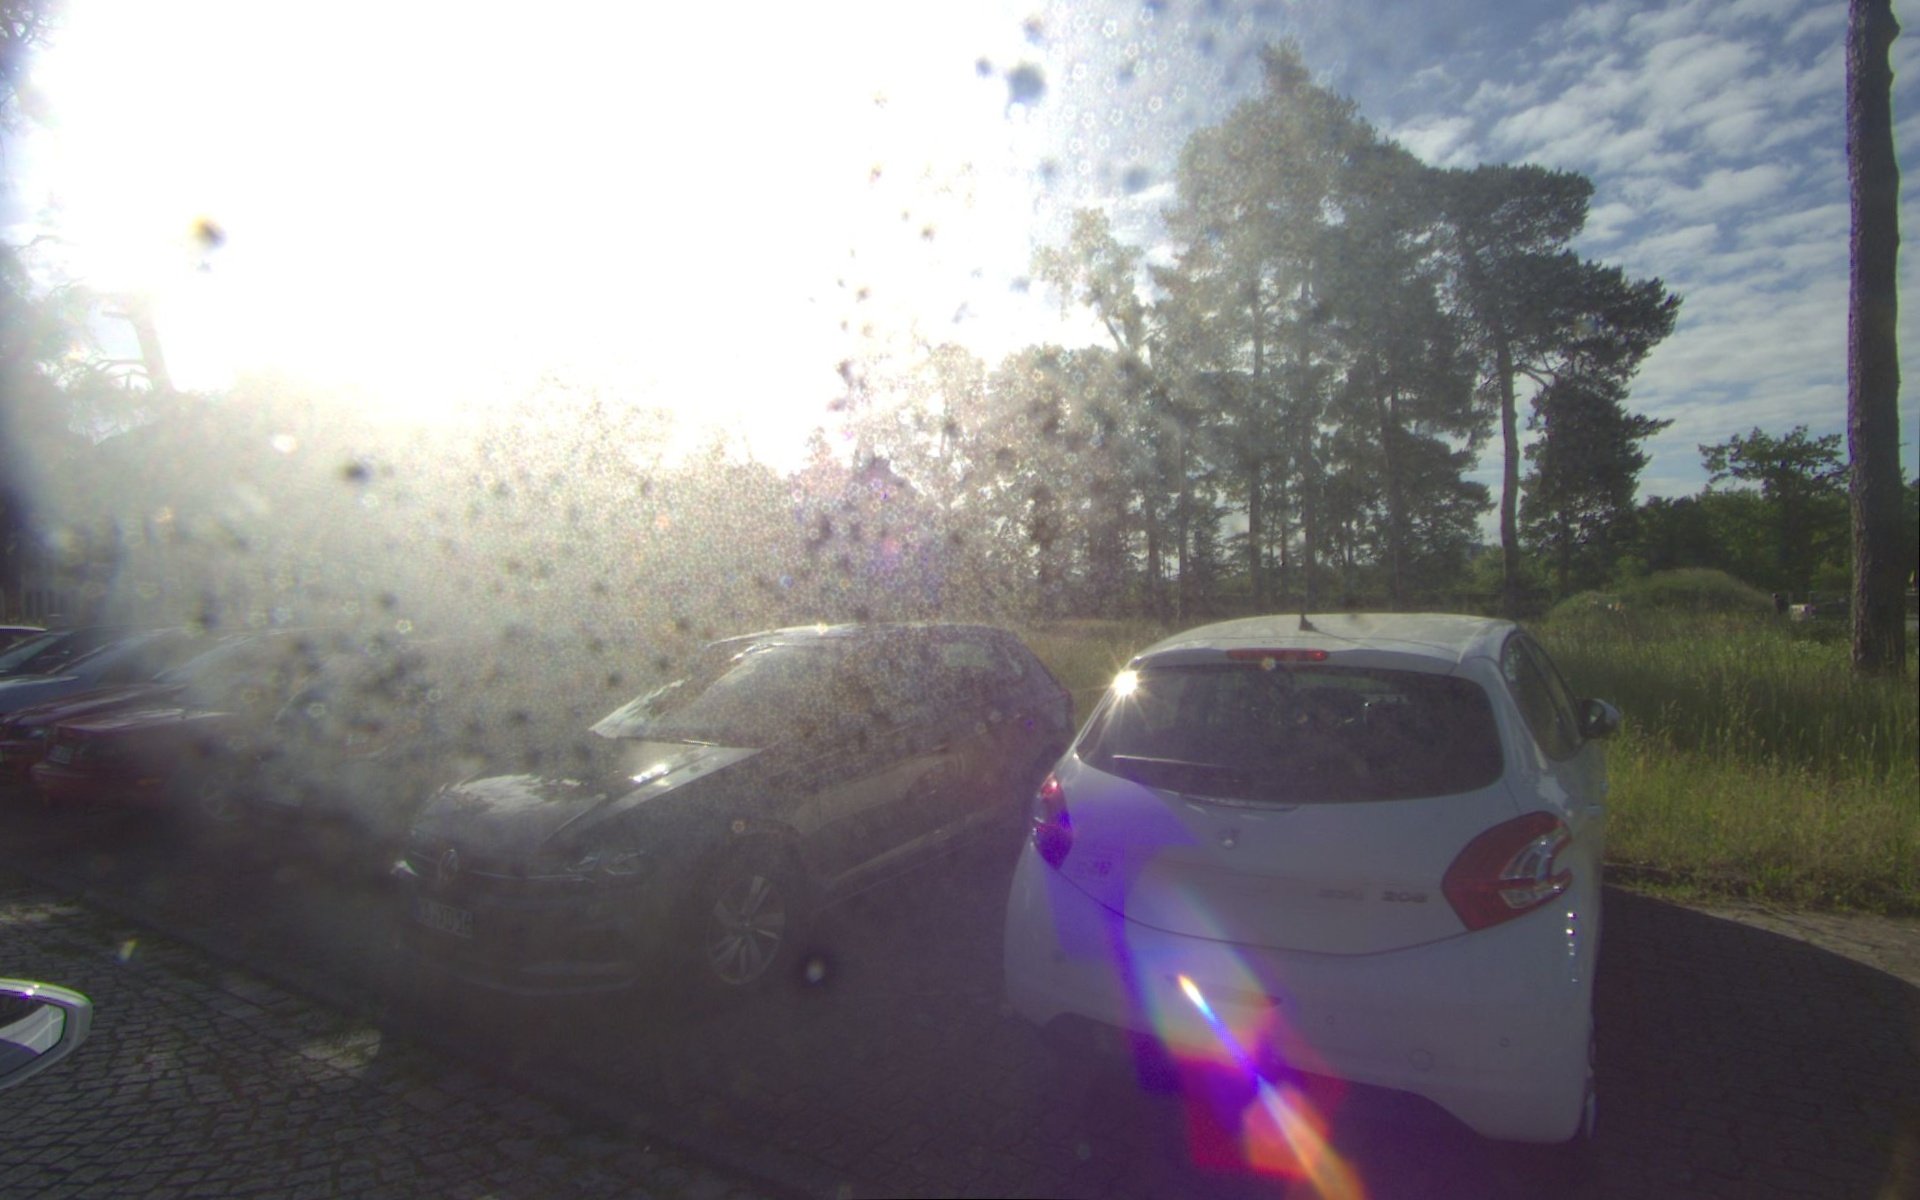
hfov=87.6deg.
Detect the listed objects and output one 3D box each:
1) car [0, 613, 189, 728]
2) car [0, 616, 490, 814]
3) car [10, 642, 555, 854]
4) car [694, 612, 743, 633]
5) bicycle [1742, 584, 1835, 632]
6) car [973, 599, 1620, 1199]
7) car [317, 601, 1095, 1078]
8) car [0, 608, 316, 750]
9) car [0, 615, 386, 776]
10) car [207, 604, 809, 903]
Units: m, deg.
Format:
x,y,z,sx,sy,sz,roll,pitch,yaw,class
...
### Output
x,y,z,sx,sy,sz,roll,pitch,yaw,class
-13.375,0.982,14.075,1.642,1.462,3.663,-1,1,33,car
-7.054,0.950,10.055,1.632,1.468,3.970,-1,0,32,car
-5.360,1.038,8.335,1.515,1.258,3.452,-1,-1,33,car
-19.570,1.823,81.360,1.743,1.693,3.625,-1,0,35,car
37.705,0.378,45.643,3.087,2.039,0.948,-3,-1,32,bicycle
1.709,0.768,4.076,1.611,1.511,3.636,-1,0,33,car
-0.922,0.792,5.290,1.734,1.470,3.769,-1,1,34,car
-11.207,0.945,12.833,1.842,1.475,4.610,-1,2,31,car
-9.118,0.950,11.165,1.763,1.407,4.389,-1,1,32,car
-2.953,0.831,7.275,1.643,1.474,3.653,-1,1,33,car
